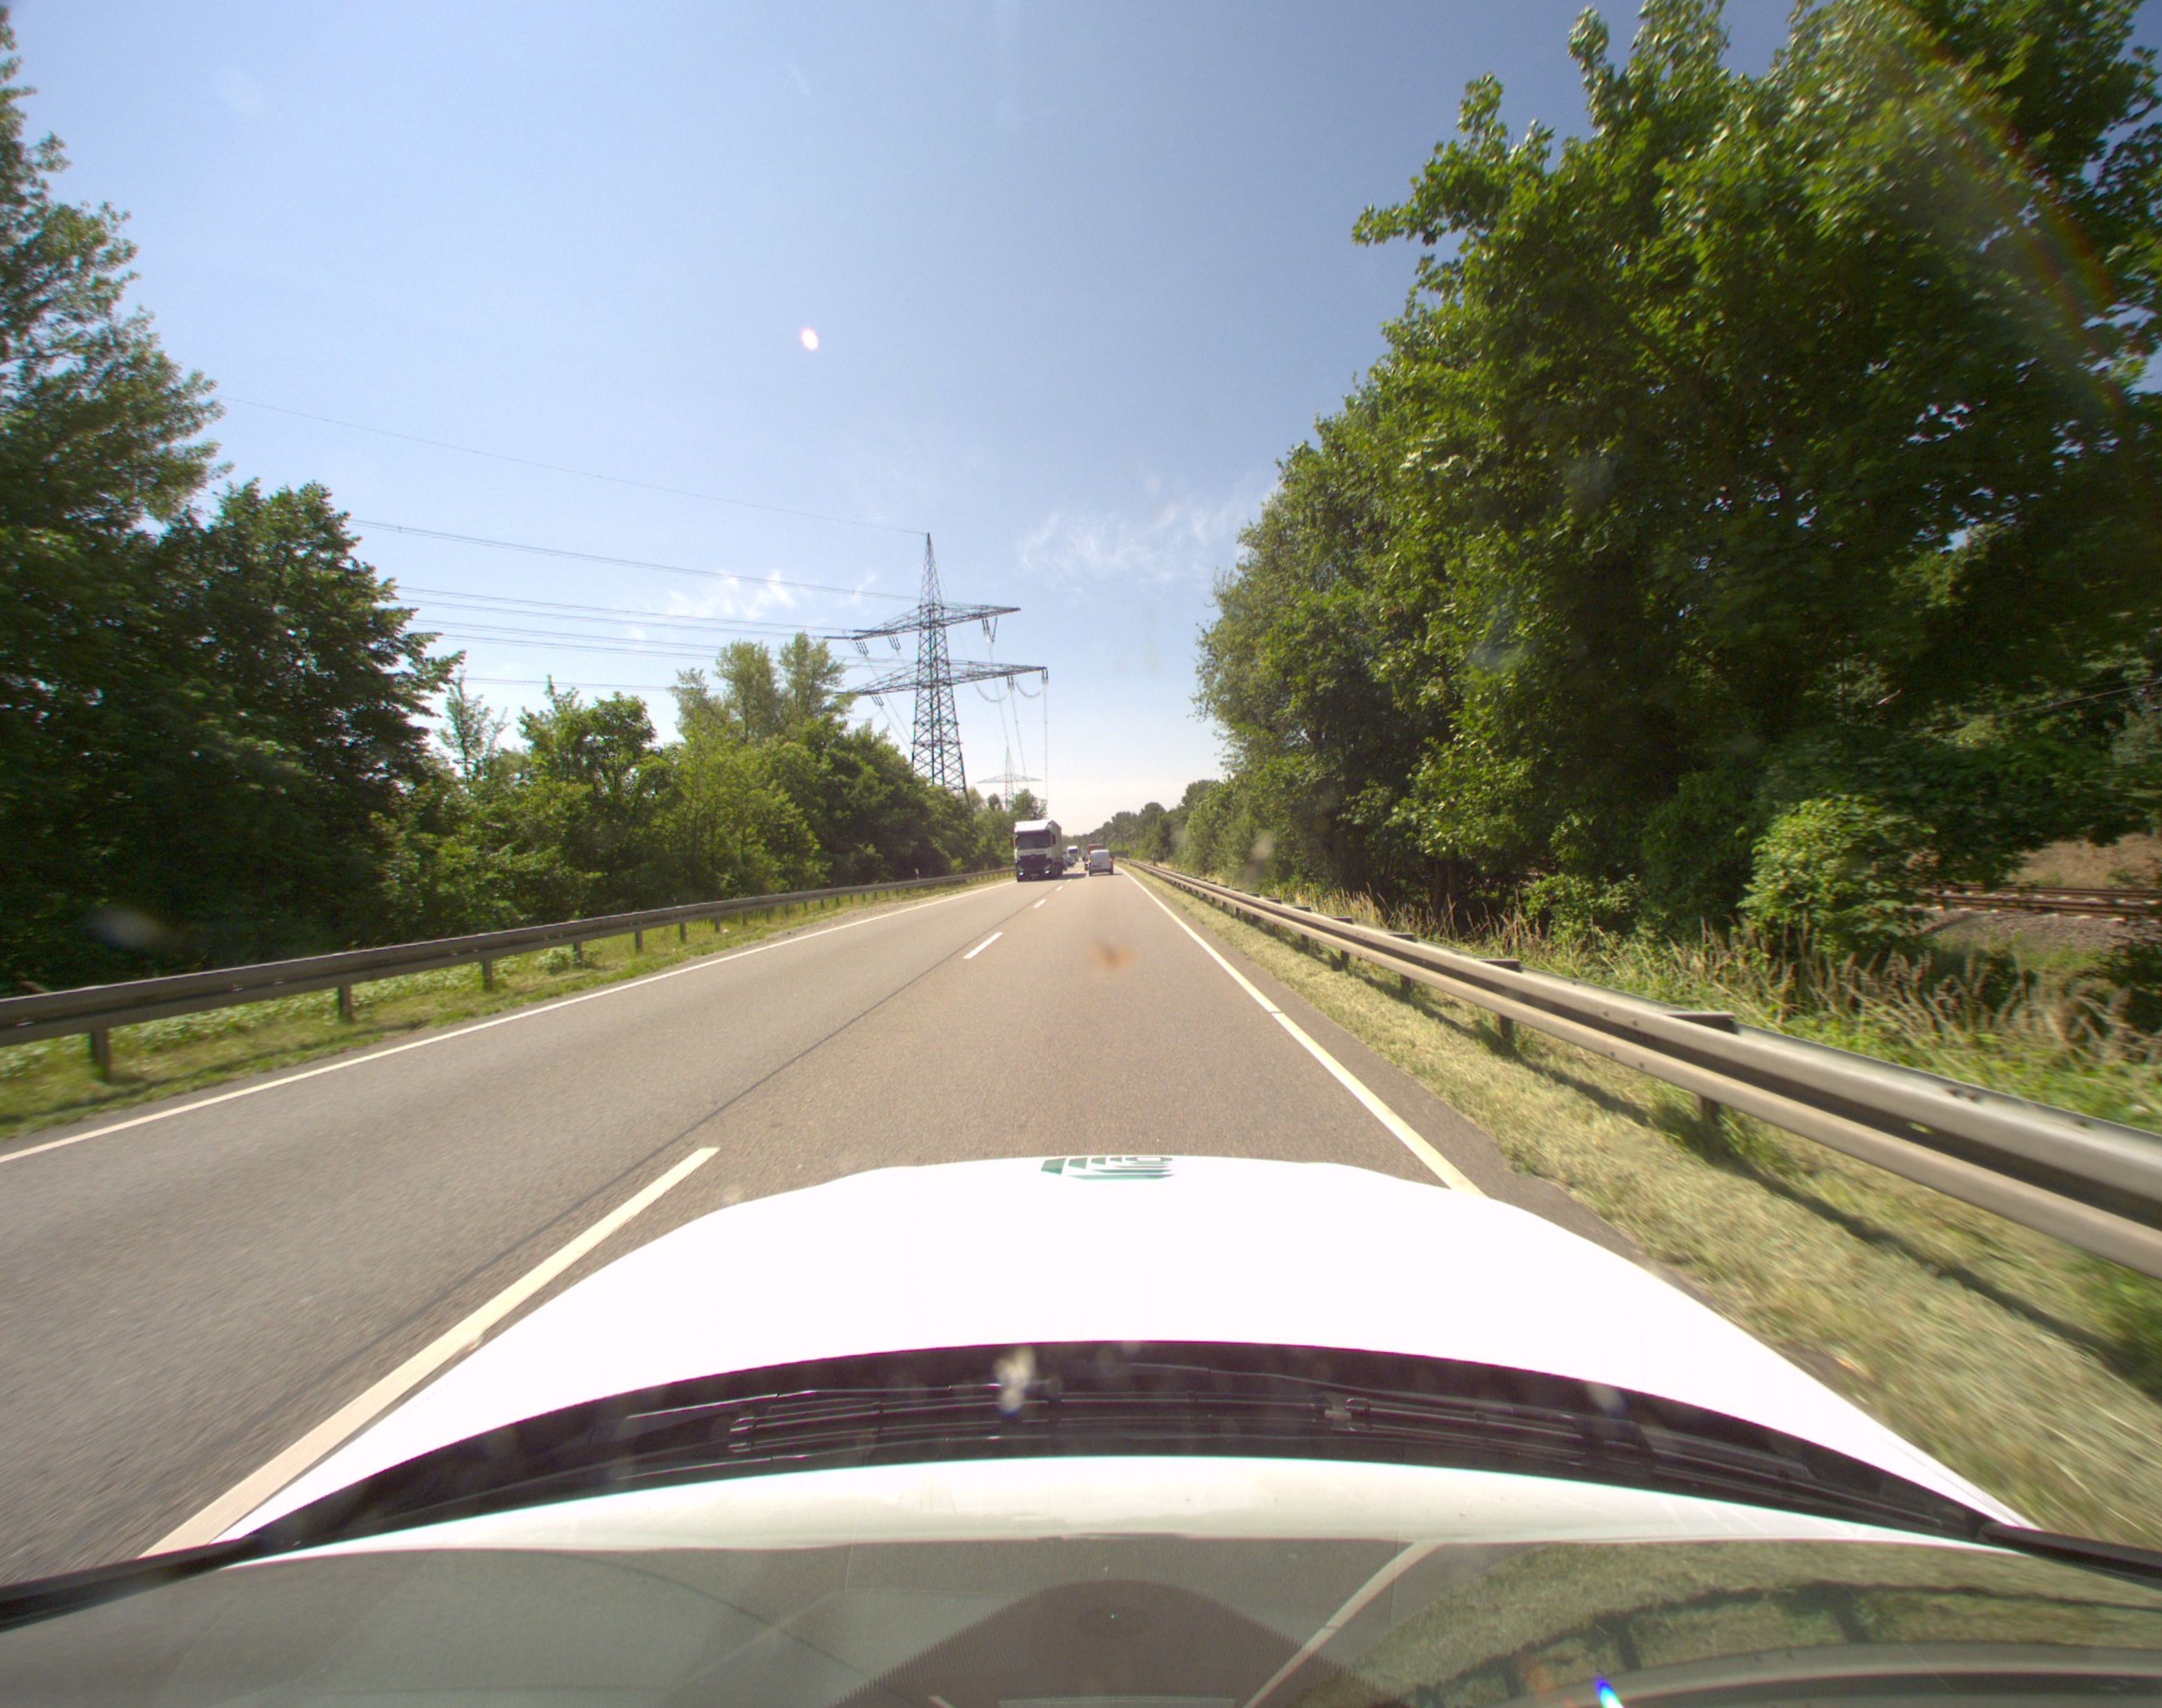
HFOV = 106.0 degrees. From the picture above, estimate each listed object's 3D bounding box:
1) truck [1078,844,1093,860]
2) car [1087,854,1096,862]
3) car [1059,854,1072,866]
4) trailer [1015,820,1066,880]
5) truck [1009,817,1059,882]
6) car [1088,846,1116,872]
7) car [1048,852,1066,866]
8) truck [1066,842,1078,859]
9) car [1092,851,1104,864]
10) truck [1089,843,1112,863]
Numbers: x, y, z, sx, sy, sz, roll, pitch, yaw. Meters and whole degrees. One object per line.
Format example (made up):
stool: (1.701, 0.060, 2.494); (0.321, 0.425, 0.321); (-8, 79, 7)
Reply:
truck: (1.168, -0.549, 215.837); (3.393, 3.854, 16.807); (-1, 1, -2)
car: (2.402, 0.908, 183.072); (1.987, 1.526, 3.999); (-4, 0, 0)
car: (-2.039, 0.806, 109.255); (1.629, 1.437, 4.414); (-4, 0, 0)
trailer: (-2.873, -0.262, 61.828); (2.753, 3.999, 13.690); (-1, 0, 2)
truck: (-3.074, -0.276, 55.106); (2.753, 3.999, 5.909); (-2, 0, 1)
car: (1.487, 0.374, 58.417); (1.868, 1.741, 4.001); (-2, 0, 1)
car: (-2.604, 0.502, 87.925); (1.627, 1.437, 4.183); (-1, 0, 3)
truck: (-2.243, -0.885, 210.379); (2.734, 4.042, 9.663); (-5, 0, 0)
car: (2.632, 0.537, 125.804); (1.758, 2.013, 3.999); (-2, 0, -1)
truck: (3.211, -0.277, 137.395); (3.287, 3.171, 14.400); (-1, 1, -1)
